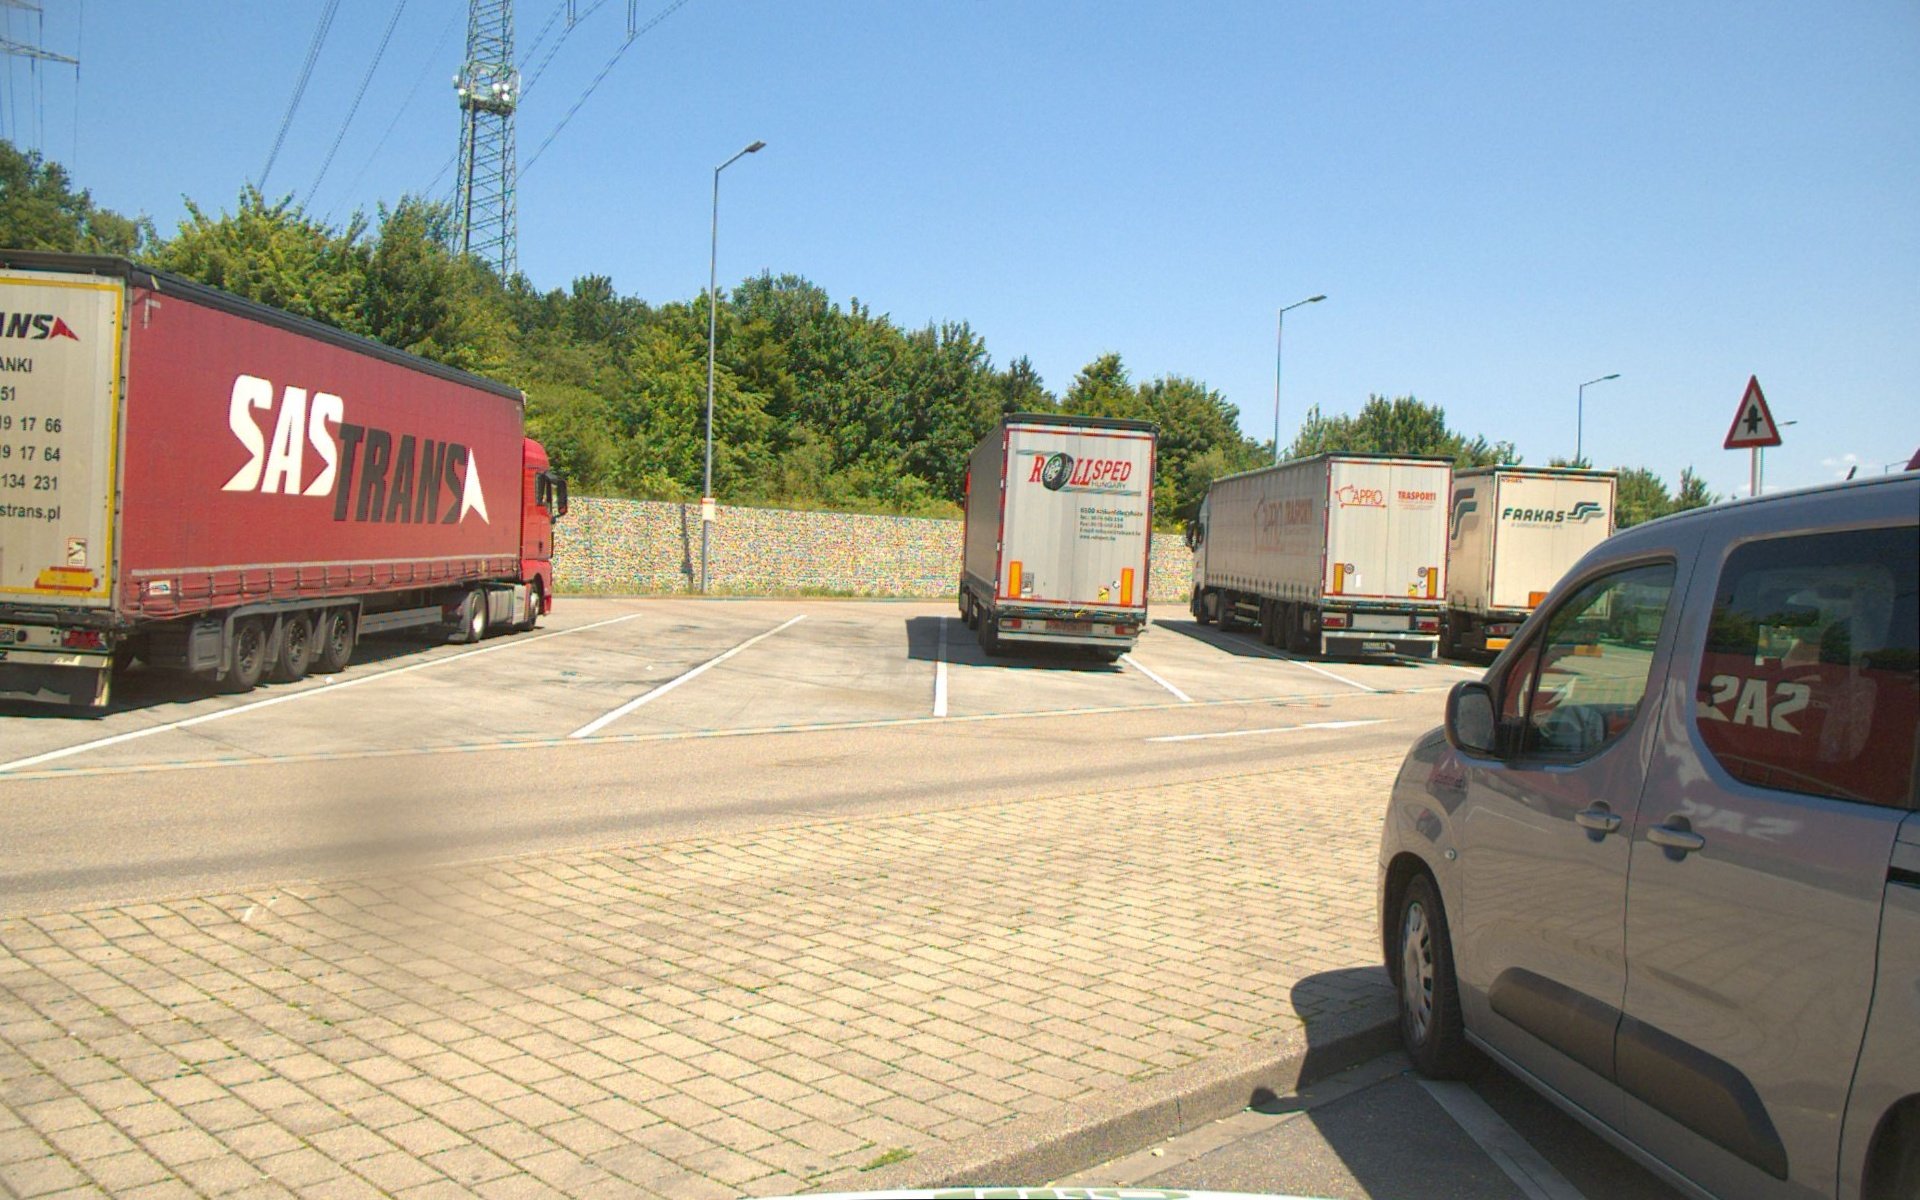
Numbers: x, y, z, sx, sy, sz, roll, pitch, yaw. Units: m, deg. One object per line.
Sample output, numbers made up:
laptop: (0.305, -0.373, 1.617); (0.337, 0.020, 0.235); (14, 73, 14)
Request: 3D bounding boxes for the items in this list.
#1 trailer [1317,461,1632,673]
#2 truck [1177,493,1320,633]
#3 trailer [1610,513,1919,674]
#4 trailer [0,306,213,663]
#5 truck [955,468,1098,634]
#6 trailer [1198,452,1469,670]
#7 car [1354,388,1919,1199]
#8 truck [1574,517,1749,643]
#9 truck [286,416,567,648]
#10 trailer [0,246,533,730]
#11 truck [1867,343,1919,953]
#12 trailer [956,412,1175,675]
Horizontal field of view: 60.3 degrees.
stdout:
trailer: (11.744, -0.937, 39.946); (2.754, 4.058, 14.395); (3, 2, -1)
truck: (8.066, -1.094, 46.942); (2.804, 3.582, 5.900); (3, 2, -1)
trailer: (21.855, -0.396, 44.494); (2.754, 3.568, 14.395); (3, 2, -1)
trailer: (-12.547, -1.329, 17.710); (2.739, 4.155, 14.131); (3, 2, -1)
truck: (1.512, -1.238, 40.525); (3.041, 3.628, 5.900); (3, 2, -1)
trailer: (8.181, -1.030, 38.842); (2.754, 4.058, 14.395); (3, 2, -1)
car: (2.442, 0.605, 3.849); (1.832, 1.896, 4.174); (3, 1, -2)
truck: (21.780, -0.702, 51.724); (2.746, 3.582, 5.900); (3, 2, -1)
truck: (-8.783, -1.145, 28.002); (2.793, 3.385, 5.900); (3, 2, -1)
trailer: (-8.720, -1.285, 21.431); (2.735, 4.155, 14.131); (3, 2, -1)
truck: (5.004, 0.201, 4.971); (1.937, 2.668, 5.307); (1, 0, 4)
trailer: (1.667, -1.192, 33.635); (3.070, 4.058, 14.393); (3, 2, -1)
